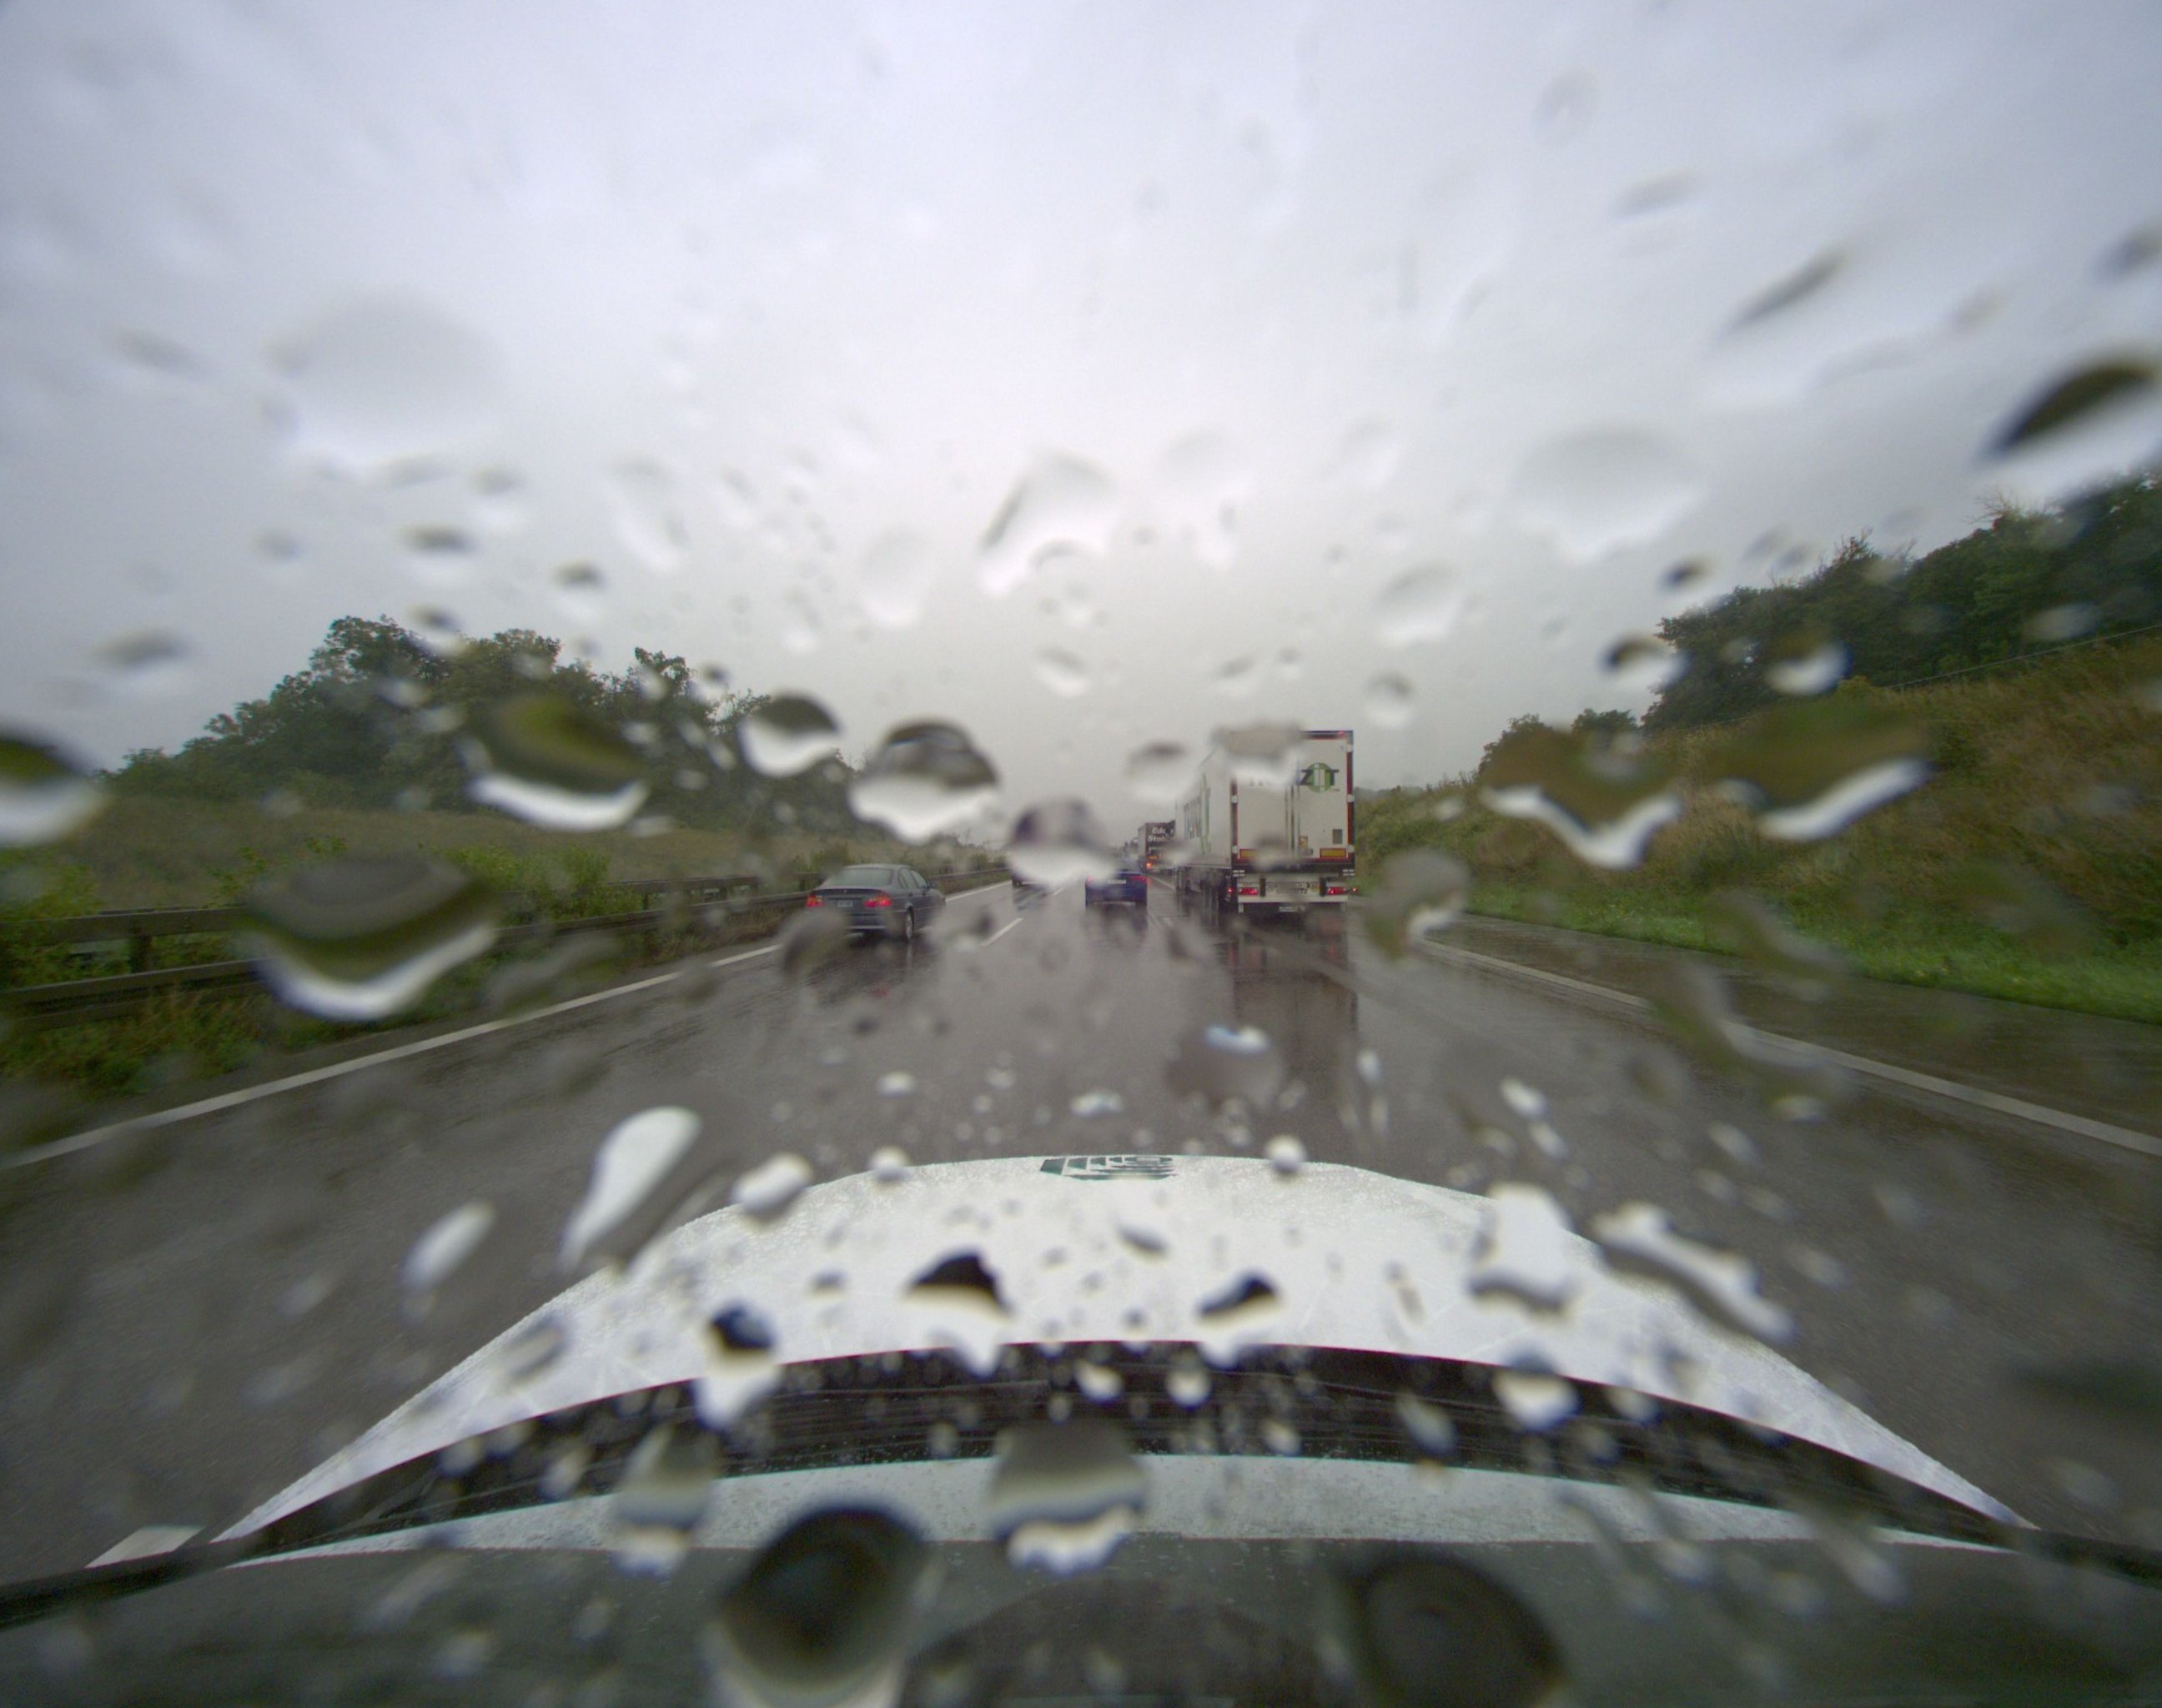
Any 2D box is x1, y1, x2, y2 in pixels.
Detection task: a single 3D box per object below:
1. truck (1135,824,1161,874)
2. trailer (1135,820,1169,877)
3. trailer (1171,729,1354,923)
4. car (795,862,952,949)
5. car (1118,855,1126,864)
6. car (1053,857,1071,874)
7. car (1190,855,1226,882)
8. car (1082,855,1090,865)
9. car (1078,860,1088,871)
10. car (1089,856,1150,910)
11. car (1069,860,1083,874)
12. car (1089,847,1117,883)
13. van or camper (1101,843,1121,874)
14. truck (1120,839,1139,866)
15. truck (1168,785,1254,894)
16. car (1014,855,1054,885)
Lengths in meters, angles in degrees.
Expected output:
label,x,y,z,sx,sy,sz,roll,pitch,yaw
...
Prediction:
label,x,y,z,sx,sy,sz,roll,pitch,yaw
truck,5.847,-0.449,71.506,2.039,4.193,4.002,-1,0,2
trailer,5.673,-0.431,66.252,2.039,4.176,11.452,-1,0,2
trailer,4.600,-0.596,24.340,2.620,4.013,14.635,-1,0,2
car,-3.808,0.877,15.708,1.711,1.400,4.233,-1,0,3
car,7.959,1.092,157.907,1.443,1.784,3.410,0,-1,2
car,-1.702,1.048,74.369,1.434,1.420,3.323,-1,0,2
car,6.481,0.717,41.833,1.418,1.288,3.462,-1,0,2
car,0.924,1.165,160.471,1.443,1.784,3.410,0,-1,2
car,0.390,1.785,128.372,1.443,1.784,3.410,0,-1,2
car,1.124,0.787,24.008,1.629,1.445,4.002,-1,0,3
car,-0.524,1.453,91.536,1.434,1.533,3.323,-1,0,2
car,1.152,0.534,42.172,1.332,1.780,3.323,-1,0,2
van or camper,2.776,0.387,76.253,1.790,2.806,4.769,-1,0,2
truck,6.431,-0.177,108.775,1.987,3.421,8.032,-1,0,1
truck,4.828,-0.517,31.124,2.620,3.827,4.793,-1,0,2
car,-2.455,0.832,43.484,1.715,1.523,4.003,-1,0,3
